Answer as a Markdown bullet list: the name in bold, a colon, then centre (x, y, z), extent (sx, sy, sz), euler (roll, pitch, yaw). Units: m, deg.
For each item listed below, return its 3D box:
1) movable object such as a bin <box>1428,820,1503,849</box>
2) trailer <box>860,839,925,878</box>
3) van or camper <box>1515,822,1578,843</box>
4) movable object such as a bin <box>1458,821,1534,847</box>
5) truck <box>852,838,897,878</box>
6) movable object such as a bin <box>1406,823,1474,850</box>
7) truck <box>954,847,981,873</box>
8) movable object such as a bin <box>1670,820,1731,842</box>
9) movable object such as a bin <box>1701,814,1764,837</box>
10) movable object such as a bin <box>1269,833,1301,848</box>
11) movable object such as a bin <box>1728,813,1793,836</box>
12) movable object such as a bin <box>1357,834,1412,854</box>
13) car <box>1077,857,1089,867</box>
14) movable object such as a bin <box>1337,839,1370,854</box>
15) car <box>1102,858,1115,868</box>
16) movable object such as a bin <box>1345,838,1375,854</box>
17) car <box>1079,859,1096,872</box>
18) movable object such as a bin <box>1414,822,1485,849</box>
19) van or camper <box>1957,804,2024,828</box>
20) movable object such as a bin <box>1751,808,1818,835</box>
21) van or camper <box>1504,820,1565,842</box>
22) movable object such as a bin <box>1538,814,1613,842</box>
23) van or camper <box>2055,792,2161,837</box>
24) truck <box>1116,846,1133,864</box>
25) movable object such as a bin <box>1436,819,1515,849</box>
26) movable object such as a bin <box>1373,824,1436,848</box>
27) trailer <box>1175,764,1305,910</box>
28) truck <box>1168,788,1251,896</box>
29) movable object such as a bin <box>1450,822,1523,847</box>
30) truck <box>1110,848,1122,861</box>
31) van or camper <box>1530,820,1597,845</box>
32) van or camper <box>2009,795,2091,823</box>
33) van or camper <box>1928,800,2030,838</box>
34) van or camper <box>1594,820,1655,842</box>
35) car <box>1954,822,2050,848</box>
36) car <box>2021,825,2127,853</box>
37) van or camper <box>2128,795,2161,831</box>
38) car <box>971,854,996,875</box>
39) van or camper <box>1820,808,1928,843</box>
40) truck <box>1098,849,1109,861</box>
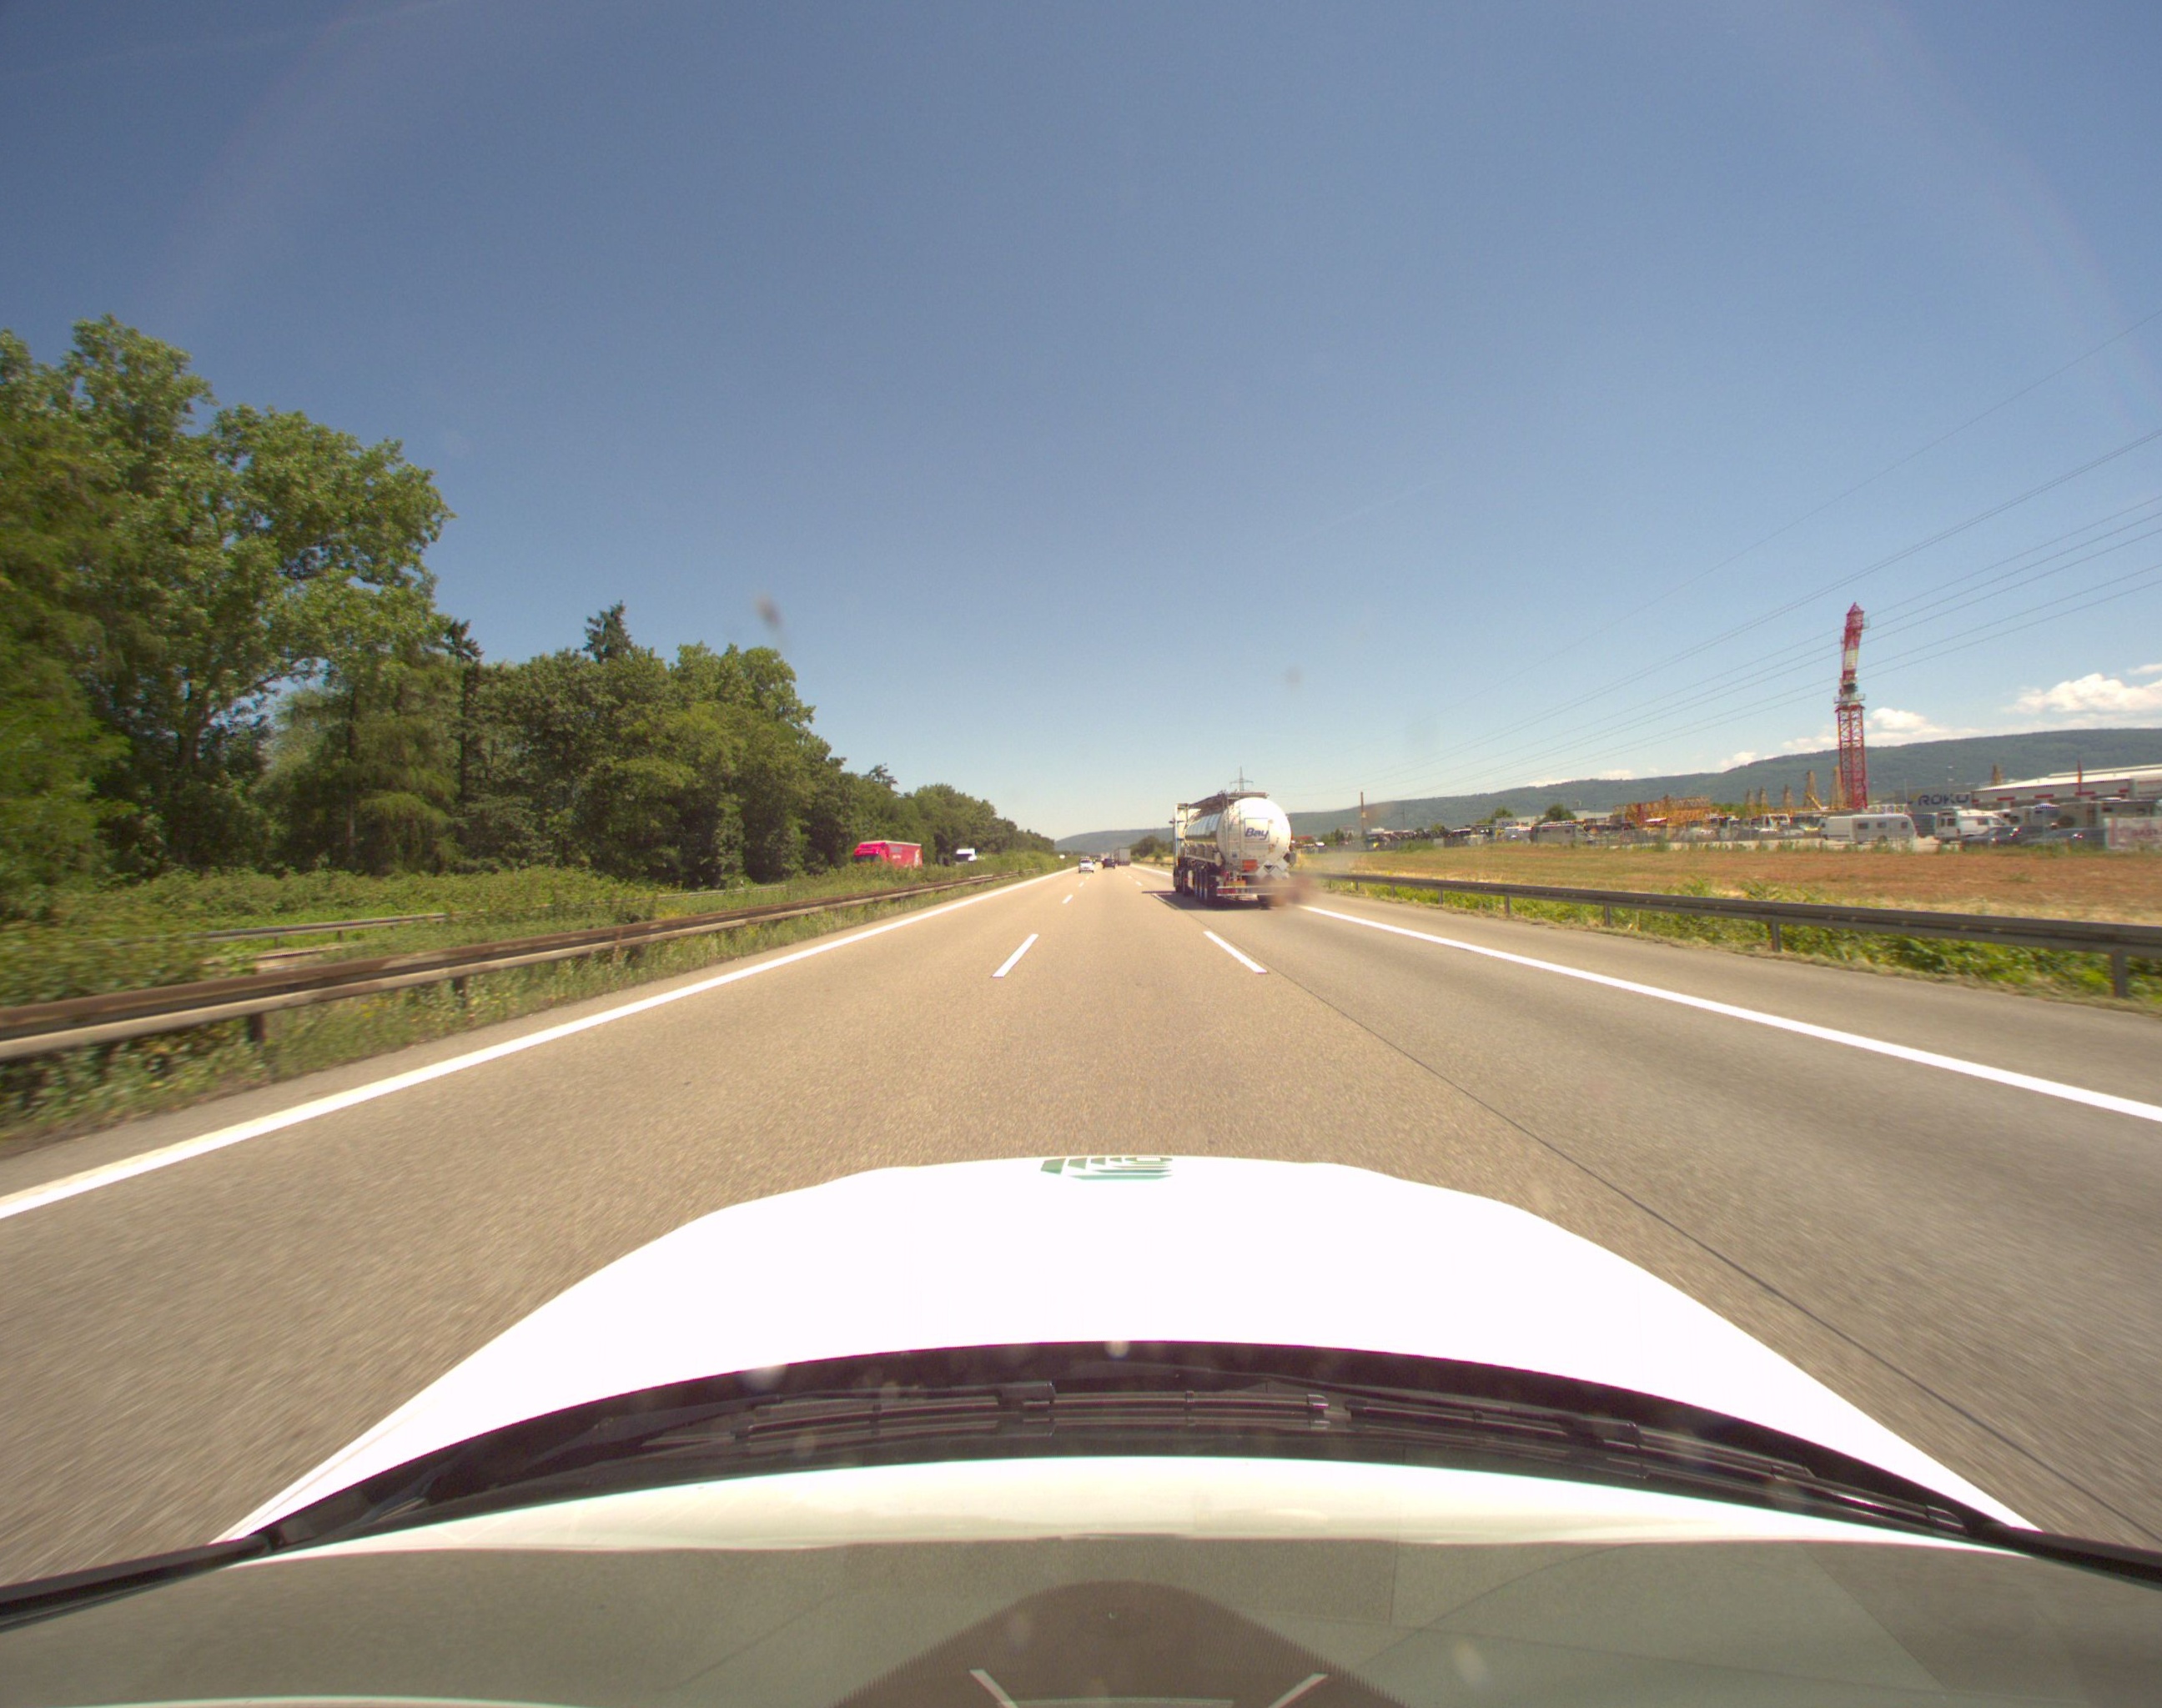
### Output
- **movable object such as a bin**: centre (58.379, -2.975, 123.848), extent (9.665, 3.689, 2.982), euler (-4, -1, 6)
- **trailer**: centre (-18.003, 0.373, 79.001), extent (2.577, 3.417, 14.160), euler (0, 0, 1)
- **van or camper**: centre (56.863, -2.650, 99.591), extent (6.091, 2.220, 2.604), euler (-3, 0, 3)
- **movable object such as a bin**: centre (57.677, -2.770, 113.318), extent (8.681, 3.006, 3.221), euler (-4, -1, 7)
- **truck**: centre (-18.193, 0.354, 71.988), extent (2.589, 3.422, 5.118), euler (0, 0, 1)
- **movable object such as a bin**: centre (58.693, -2.829, 133.382), extent (9.675, 3.689, 2.635), euler (-4, -1, 3)
- **truck**: centre (-16.445, 0.816, 118.288), extent (2.580, 3.705, 6.832), euler (0, 0, 3)
- **movable object such as a bin**: centre (82.033, -2.974, 108.007), extent (2.902, 2.554, 6.810), euler (-3, -1, 2)
- **movable object such as a bin**: centre (85.929, -3.738, 107.552), extent (2.902, 2.554, 6.810), euler (-3, -1, 2)
- **movable object such as a bin**: centre (57.132, -3.774, 228.317), extent (8.139, 3.732, 3.345), euler (-4, -1, 8)
- **movable object such as a bin**: centre (89.147, -3.886, 107.020), extent (2.902, 2.554, 6.810), euler (-3, -1, 2)
- **movable object such as a bin**: centre (62.096, -1.944, 166.718), extent (10.157, 3.415, 2.537), euler (-4, -1, 27)
- **car**: centre (0.398, 1.305, 131.396), extent (1.845, 1.633, 4.002), euler (0, 0, 2)
- **movable object such as a bin**: centre (60.493, -1.649, 180.985), extent (6.828, 2.688, 3.191), euler (-4, -1, 16)
- **car**: centre (4.115, 1.338, 122.471), extent (1.878, 1.515, 4.002), euler (0, 0, 2)
- **movable object such as a bin**: centre (60.486, -1.709, 176.576), extent (5.785, 3.196, 2.532), euler (-4, -1, 16)
- **car**: centre (0.755, 1.285, 90.998), extent (1.800, 1.468, 4.002), euler (0, 0, 2)
- **movable object such as a bin**: centre (58.506, -2.877, 129.448), extent (9.675, 3.689, 2.979), euler (-4, -1, 3)
- **van or camper**: centre (103.028, -4.299, 92.315), extent (2.148, 2.386, 4.941), euler (-3, 0, 2)
- **movable object such as a bin**: centre (92.368, -4.205, 107.065), extent (2.902, 3.029, 6.810), euler (-3, -1, 2)
- **van or camper**: centre (56.956, -2.837, 102.391), extent (6.091, 2.402, 2.604), euler (-3, 0, 3)
- **movable object such as a bin**: centre (73.773, -3.809, 121.609), extent (8.997, 3.572, 2.927), euler (-3, -1, 6)
- **van or camper**: centre (71.794, -2.735, 56.099), extent (6.426, 2.767, 2.422), euler (-3, 0, -1)
- **truck**: centre (9.554, 0.245, 179.510), extent (3.253, 3.857, 11.634), euler (0, 0, 1)
- **movable object such as a bin**: centre (58.213, -2.972, 120.393), extent (9.665, 3.689, 3.425), euler (-4, -1, 6)
- **movable object such as a bin**: centre (58.643, -3.235, 147.850), extent (10.217, 3.689, 2.394), euler (-4, -1, 1)
- **trailer**: centre (5.080, -0.474, 28.337), extent (2.571, 4.074, 11.105), euler (0, 0, 1)
- **truck**: centre (5.203, -0.460, 33.941), extent (2.564, 4.072, 6.394), euler (0, 0, 1)
- **movable object such as a bin**: centre (58.070, -2.743, 116.824), extent (8.680, 3.006, 2.962), euler (-4, -1, 8)
- **truck**: centre (10.205, 0.155, 237.298), extent (3.086, 3.474, 11.545), euler (0, 0, 1)
- **van or camper**: centre (56.718, -2.517, 95.849), extent (6.316, 2.552, 2.440), euler (-3, 0, 3)
- **van or camper**: centre (103.916, -4.792, 87.419), extent (5.808, 2.552, 2.438), euler (-3, 0, 0)
- **van or camper**: centre (72.370, -2.788, 65.702), extent (5.241, 2.677, 2.616), euler (-3, 0, -1)
- **van or camper**: centre (70.675, -2.986, 106.004), extent (6.091, 2.402, 2.604), euler (-3, 0, 3)
- **car**: centre (54.075, -1.095, 47.838), extent (3.879, 1.298, 1.586), euler (-3, 0, -1)
- **car**: centre (53.770, -0.796, 44.132), extent (3.879, 1.298, 1.586), euler (-3, 0, -1)
- **van or camper**: centre (86.413, -3.330, 64.001), extent (5.250, 2.765, 2.611), euler (-3, 0, -6)
- **car**: centre (-12.476, 1.270, 104.424), extent (2.294, 2.401, 6.521), euler (0, 2, 1)
- **van or camper**: centre (70.159, -2.532, 72.157), extent (6.330, 2.677, 3.325), euler (-3, 0, 0)
- **truck**: centre (6.726, 0.176, 241.498), extent (3.086, 3.474, 11.545), euler (0, 0, 1)
